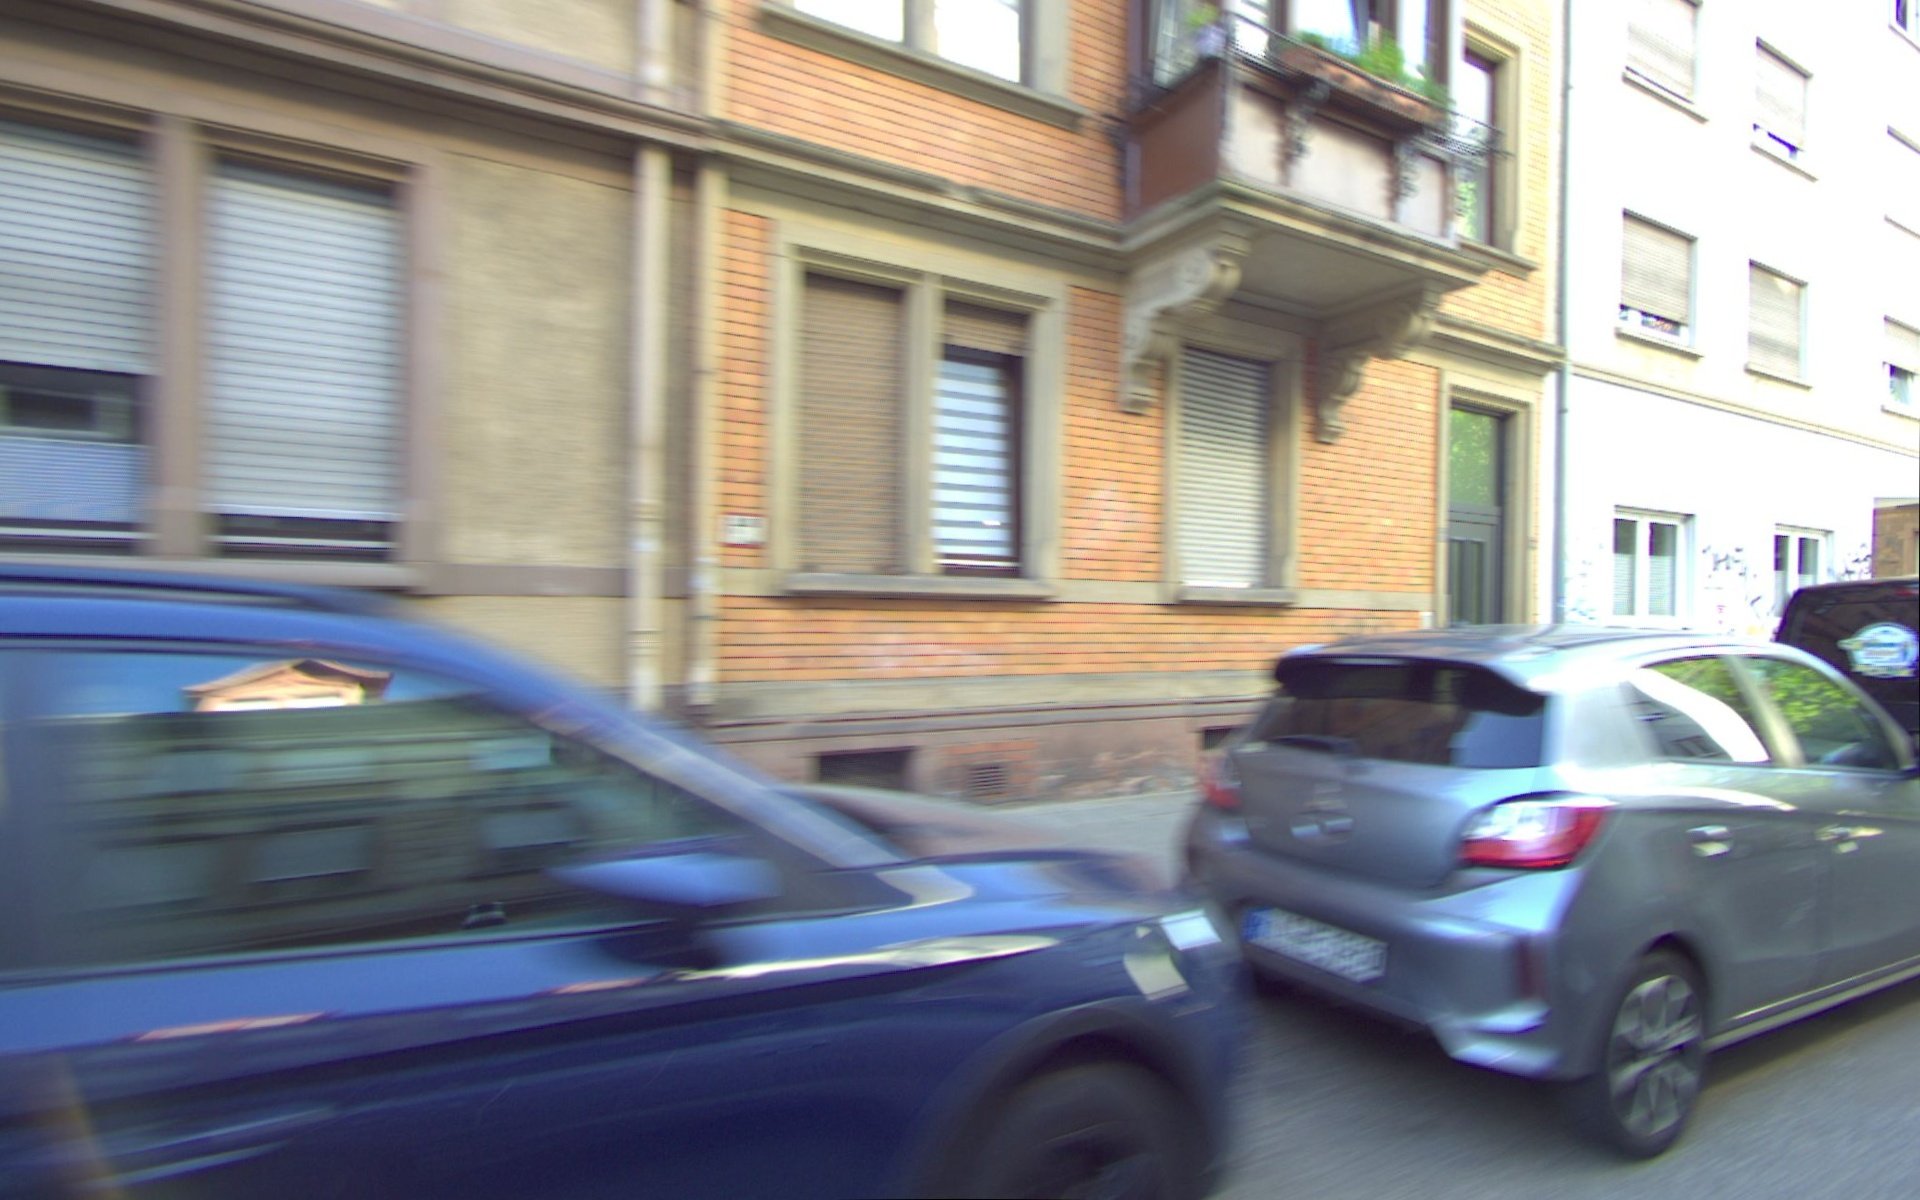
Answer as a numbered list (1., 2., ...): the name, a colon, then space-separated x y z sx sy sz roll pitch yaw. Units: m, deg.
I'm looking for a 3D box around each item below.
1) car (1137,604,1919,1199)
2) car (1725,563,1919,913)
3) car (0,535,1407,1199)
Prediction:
1. car: 2.664 0.797 4.099 3.602 1.469 1.669 1 0 -31
2. car: 6.743 0.748 6.269 4.289 1.790 1.808 1 0 -33
3. car: -1.183 0.729 2.101 3.954 1.572 1.984 1 -1 -31
